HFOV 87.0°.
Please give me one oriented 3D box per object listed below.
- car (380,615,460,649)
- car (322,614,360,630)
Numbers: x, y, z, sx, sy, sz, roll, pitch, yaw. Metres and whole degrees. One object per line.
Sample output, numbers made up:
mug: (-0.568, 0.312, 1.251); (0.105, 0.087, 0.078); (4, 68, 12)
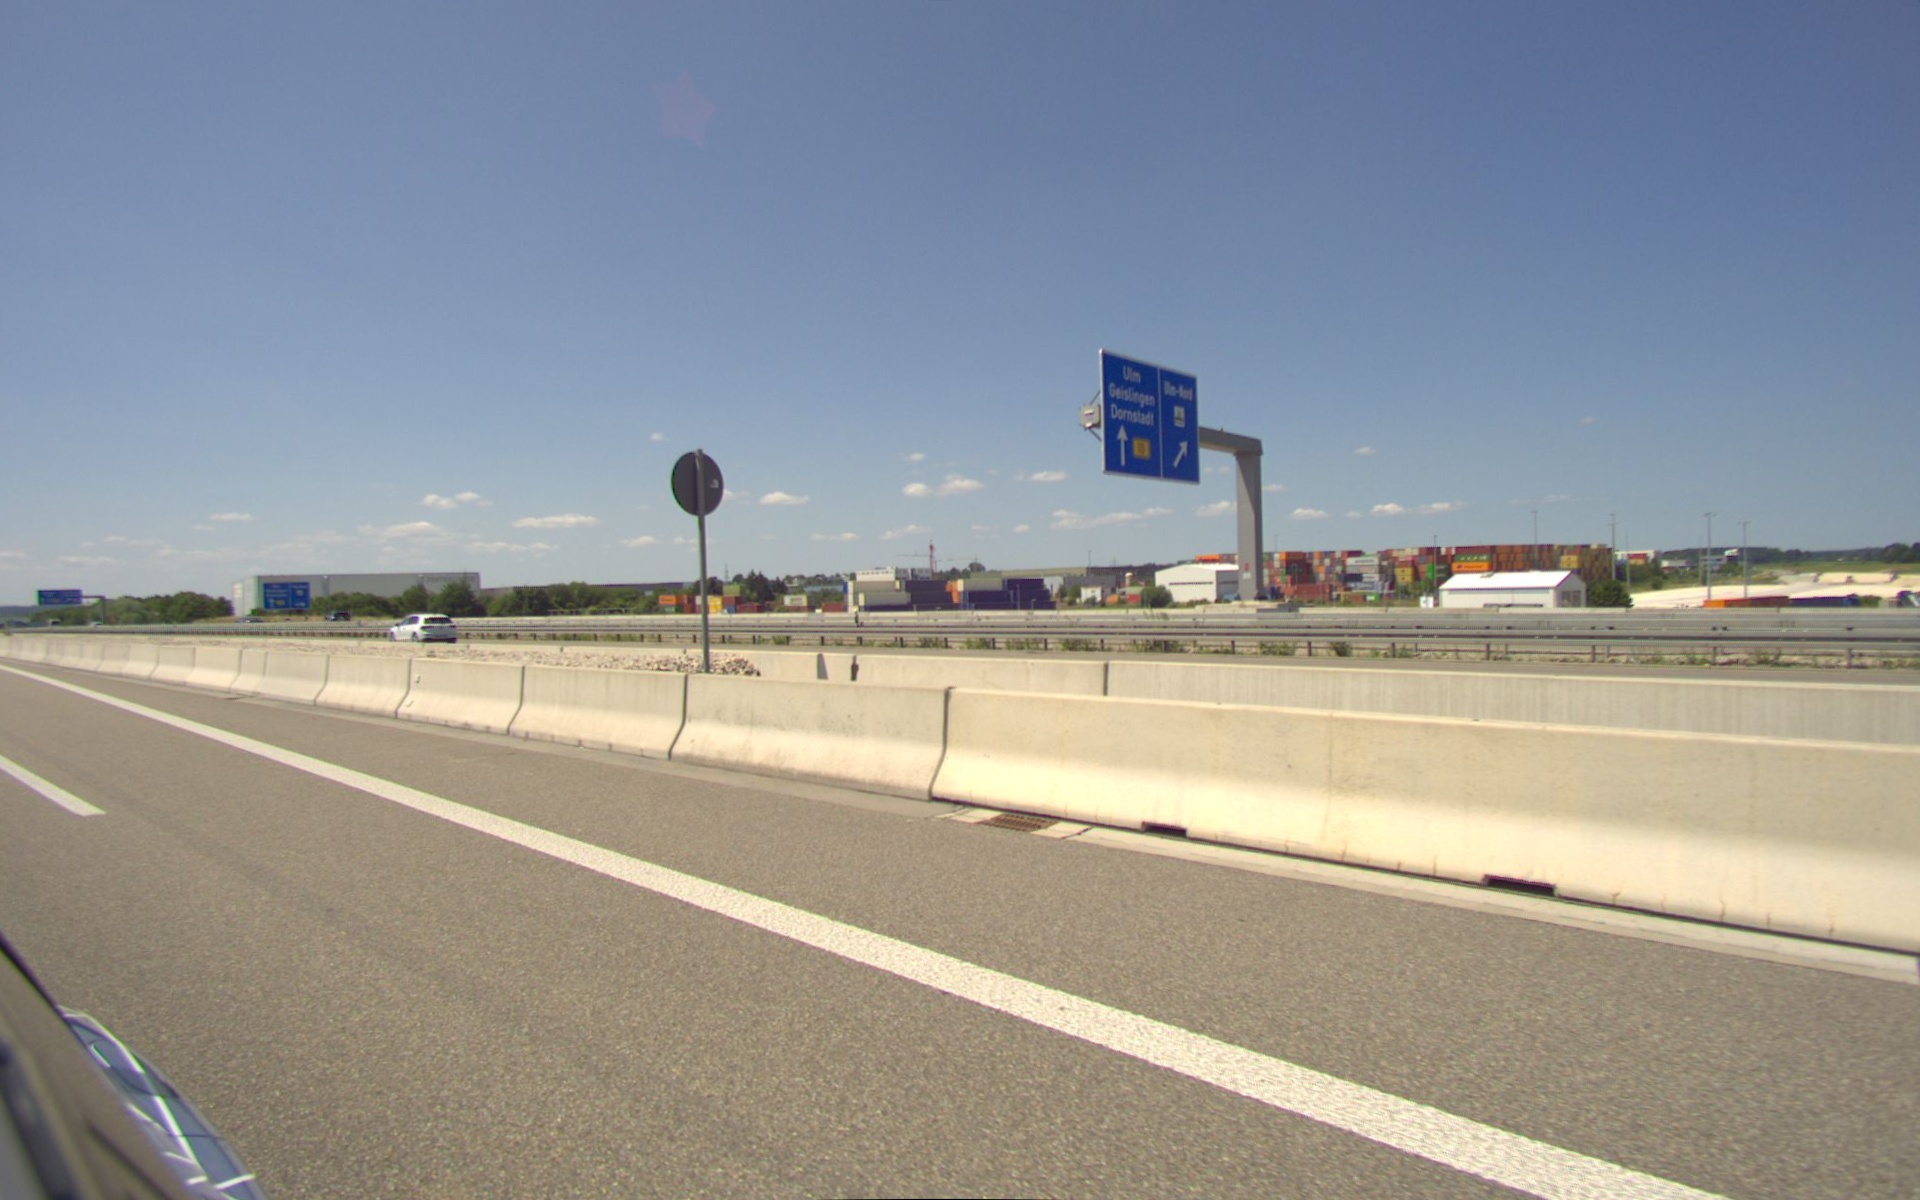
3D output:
car: (-24.837, 1.457, 46.469); (4.439, 1.446, 1.791); (-2, -1, 41)
car: (-57.896, 2.081, 94.615); (4.362, 1.390, 1.971); (-2, -1, 44)
